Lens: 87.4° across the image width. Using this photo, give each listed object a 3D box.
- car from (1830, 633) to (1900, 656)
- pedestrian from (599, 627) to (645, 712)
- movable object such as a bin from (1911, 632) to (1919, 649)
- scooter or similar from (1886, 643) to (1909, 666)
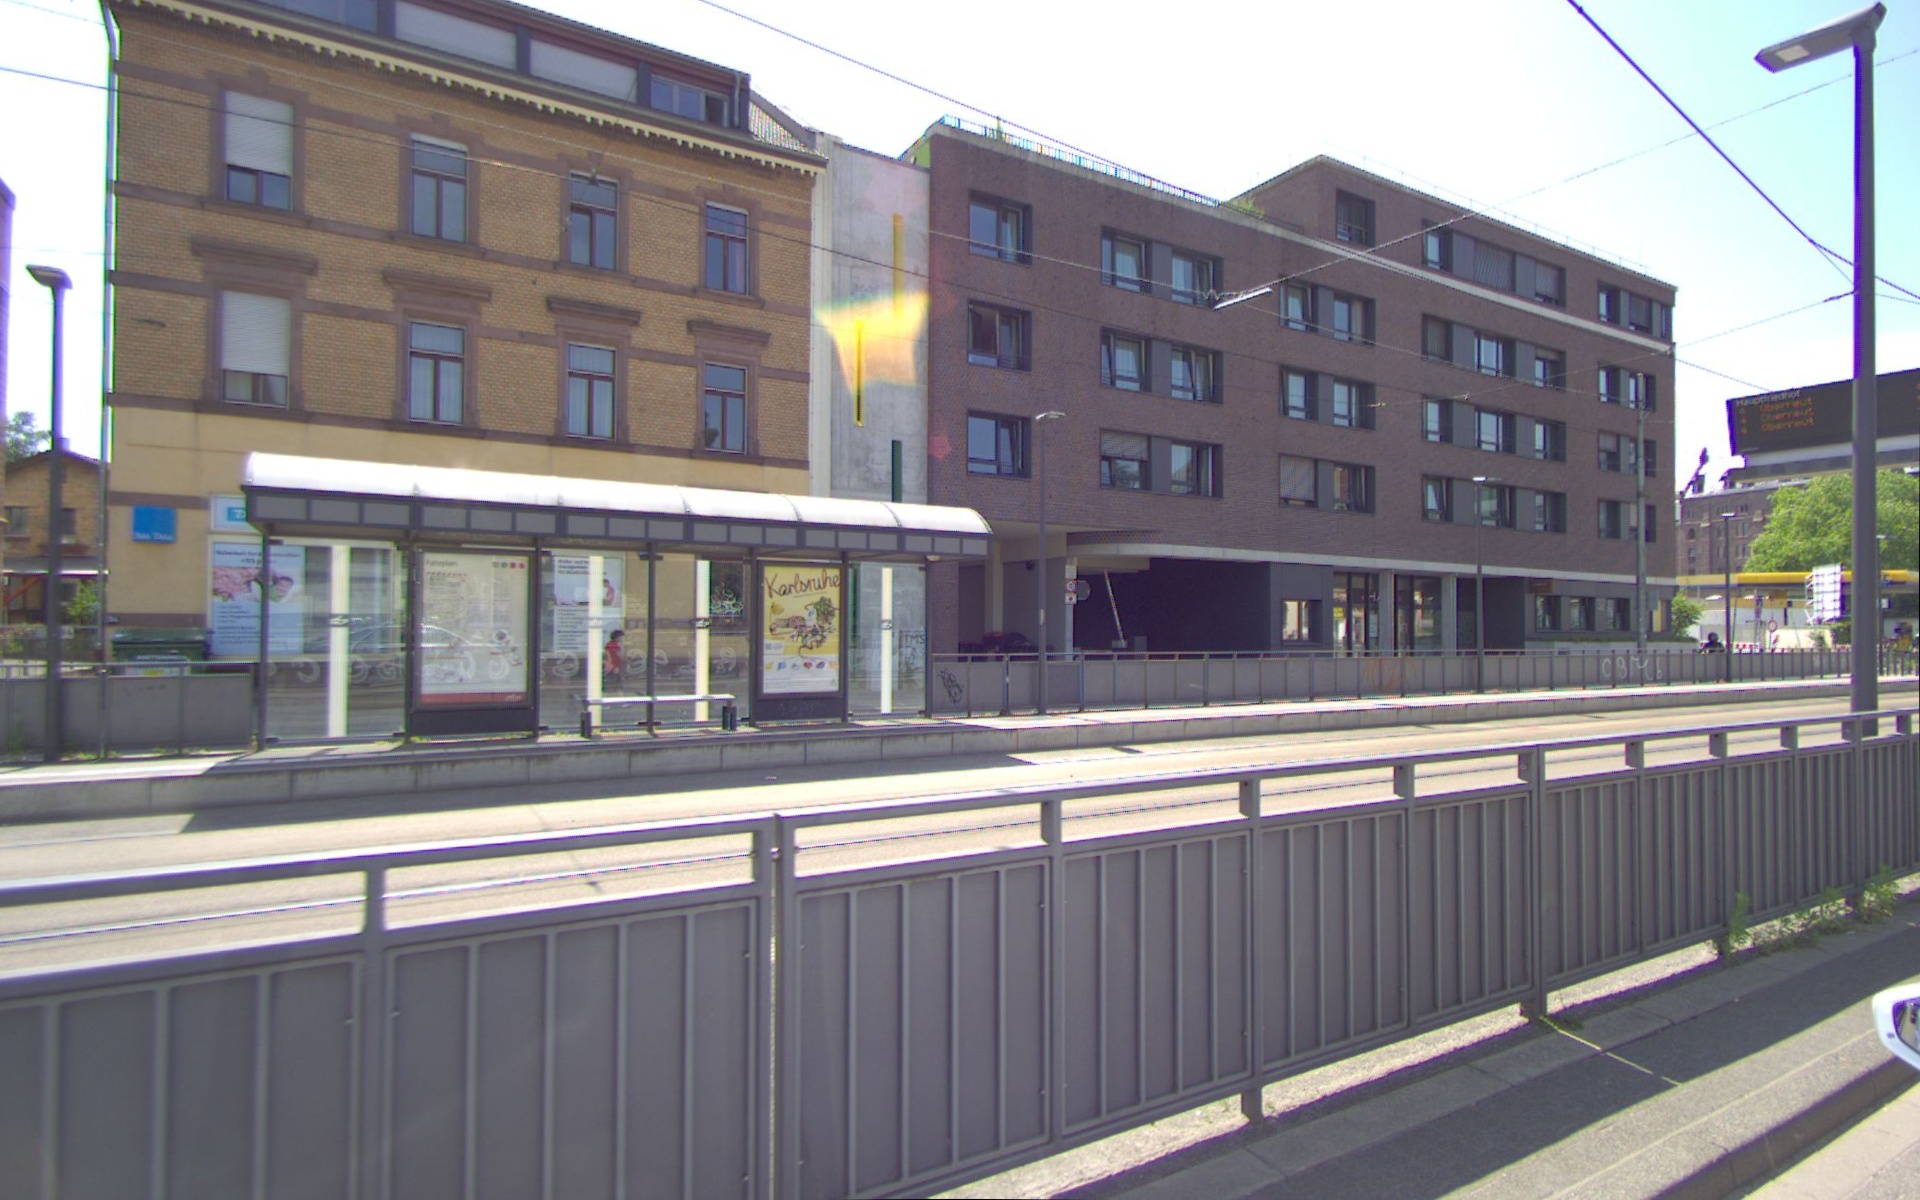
[{"bbox_3d":[65.315,3.195,72.514,4.129,1.525,1.826,0,1,-15],"label":"car"},{"bbox_3d":[-6.615,1.344,19.664,0.707,1.617,0.599,1,-2,-33],"label":"pedestrian"},{"bbox_3d":[89.531,3.800,92.837,2.064,1.529,1.522,1,0,-14],"label":"movable object such as a bin"},{"bbox_3d":[53.509,3.116,57.306,1.221,1.281,0.345,1,0,-14],"label":"scooter or similar"}]
